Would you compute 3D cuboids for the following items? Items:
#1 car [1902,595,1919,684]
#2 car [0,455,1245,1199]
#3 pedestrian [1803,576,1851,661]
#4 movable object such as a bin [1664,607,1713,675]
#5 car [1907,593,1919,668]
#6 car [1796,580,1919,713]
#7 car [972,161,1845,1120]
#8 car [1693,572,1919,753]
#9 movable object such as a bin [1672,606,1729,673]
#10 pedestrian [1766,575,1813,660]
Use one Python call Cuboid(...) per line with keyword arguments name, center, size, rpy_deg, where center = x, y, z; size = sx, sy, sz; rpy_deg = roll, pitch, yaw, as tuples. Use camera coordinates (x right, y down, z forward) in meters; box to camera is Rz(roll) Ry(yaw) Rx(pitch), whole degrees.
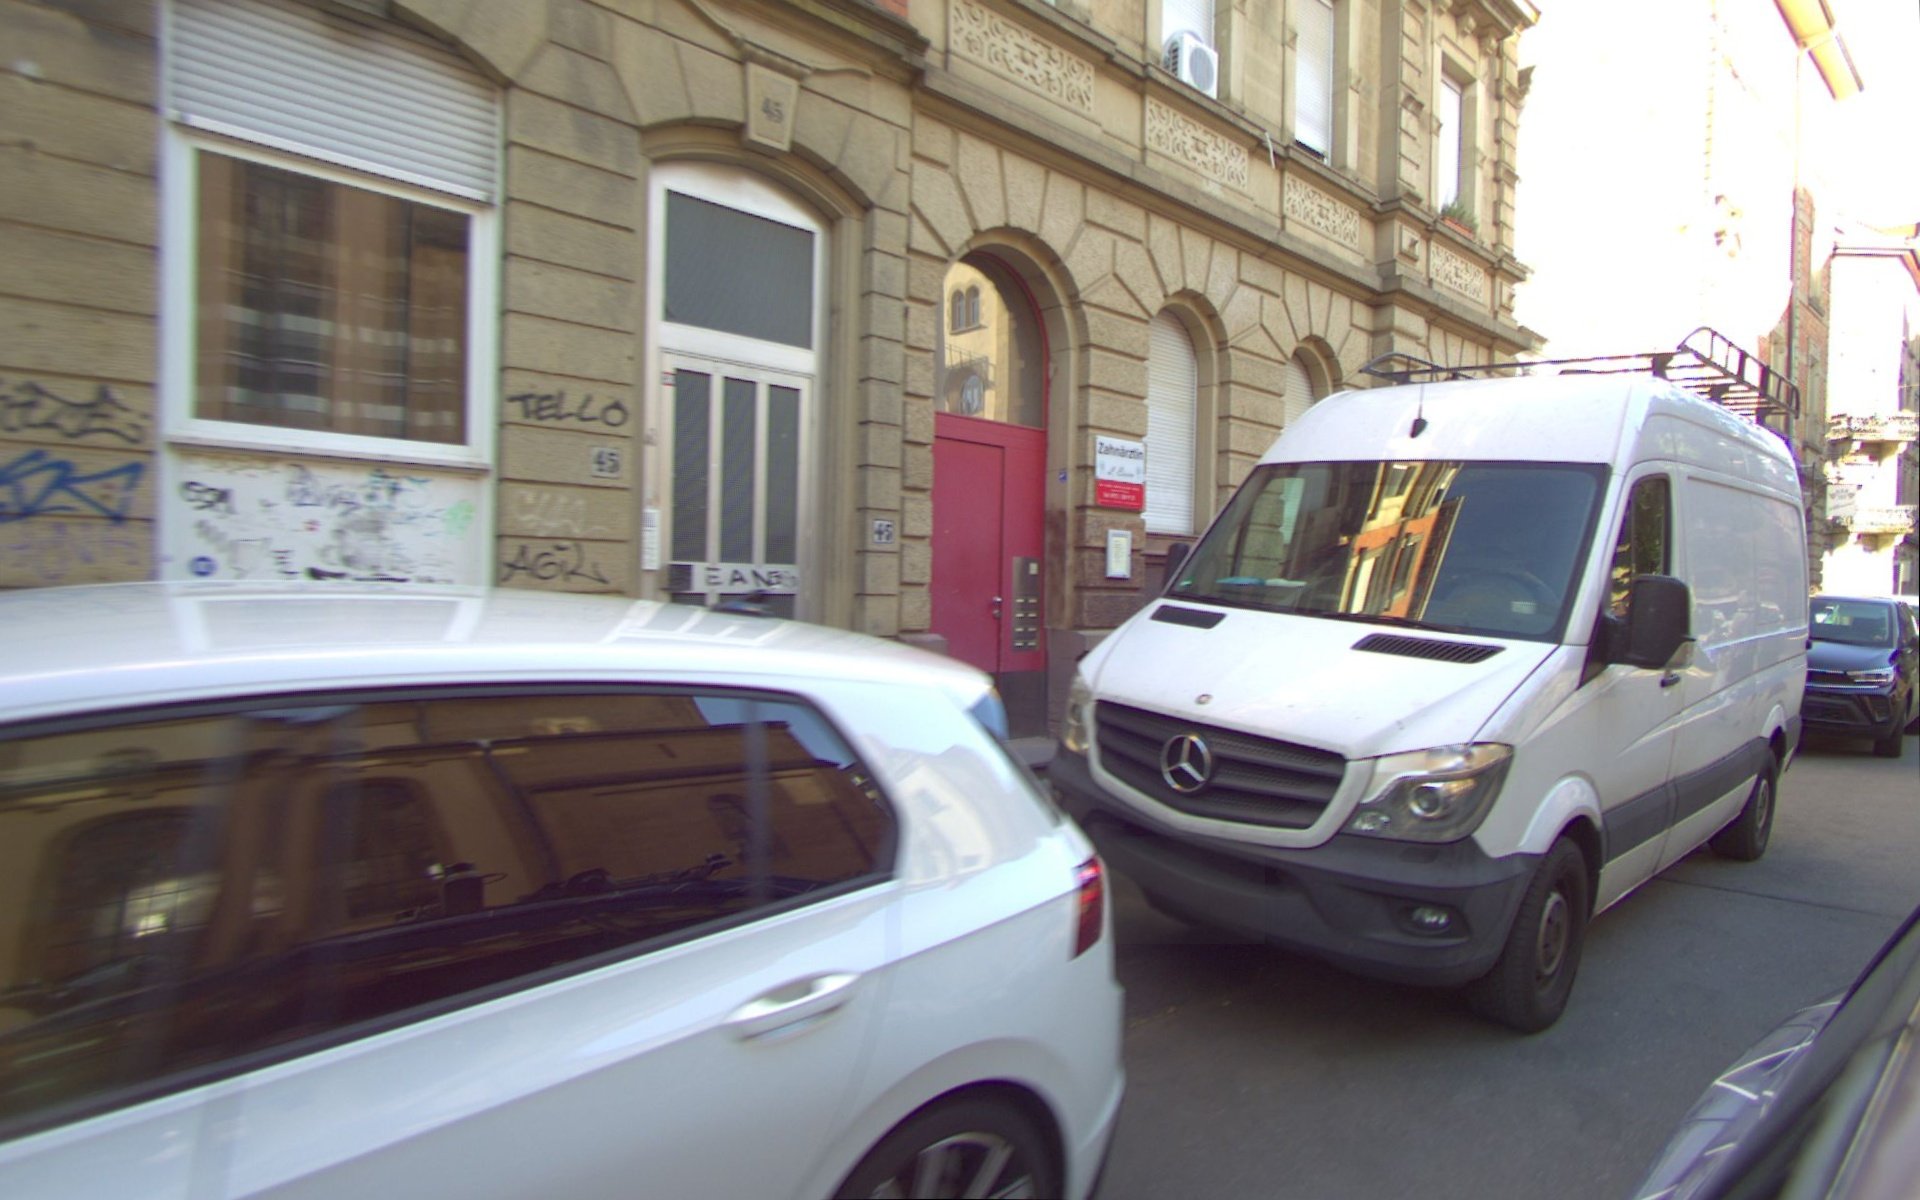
Cuboid(name="car", center=(18.565, 0.682, 18.680), size=(1.572, 1.544, 3.845), rpy_deg=(-2, -1, 45))
Cuboid(name="car", center=(-1.558, 0.622, 1.523), size=(4.284, 1.505, 1.782), rpy_deg=(0, 0, -41))
Cuboid(name="pedestrian", center=(17.107, 0.357, 19.969), size=(0.715, 1.624, 0.591), rpy_deg=(1, 1, -43))
Cuboid(name="movable object such as a bin", center=(12.167, 0.670, 16.908), size=(0.545, 1.065, 0.597), rpy_deg=(4, 3, 31))
Cuboid(name="car", center=(21.473, 0.661, 21.629), size=(3.619, 1.532, 1.537), rpy_deg=(0, 2, -43))
Cuboid(name="car", center=(13.688, 0.578, 14.594), size=(4.140, 1.711, 1.811), rpy_deg=(-1, 0, -41))
Cuboid(name="car", center=(2.914, 0.106, 5.484), size=(5.784, 2.644, 2.072), rpy_deg=(0, 0, -41))
Cuboid(name="car", center=(9.673, 0.557, 11.218), size=(3.856, 1.663, 1.690), rpy_deg=(0, 1, -41))
Cuboid(name="movable object such as a bin", center=(12.712, 0.666, 17.387), size=(0.542, 1.065, 0.601), rpy_deg=(4, 3, 16))
Cuboid(name="pedestrian", center=(16.598, 0.335, 20.251), size=(0.722, 1.642, 0.575), rpy_deg=(1, 1, -43))
